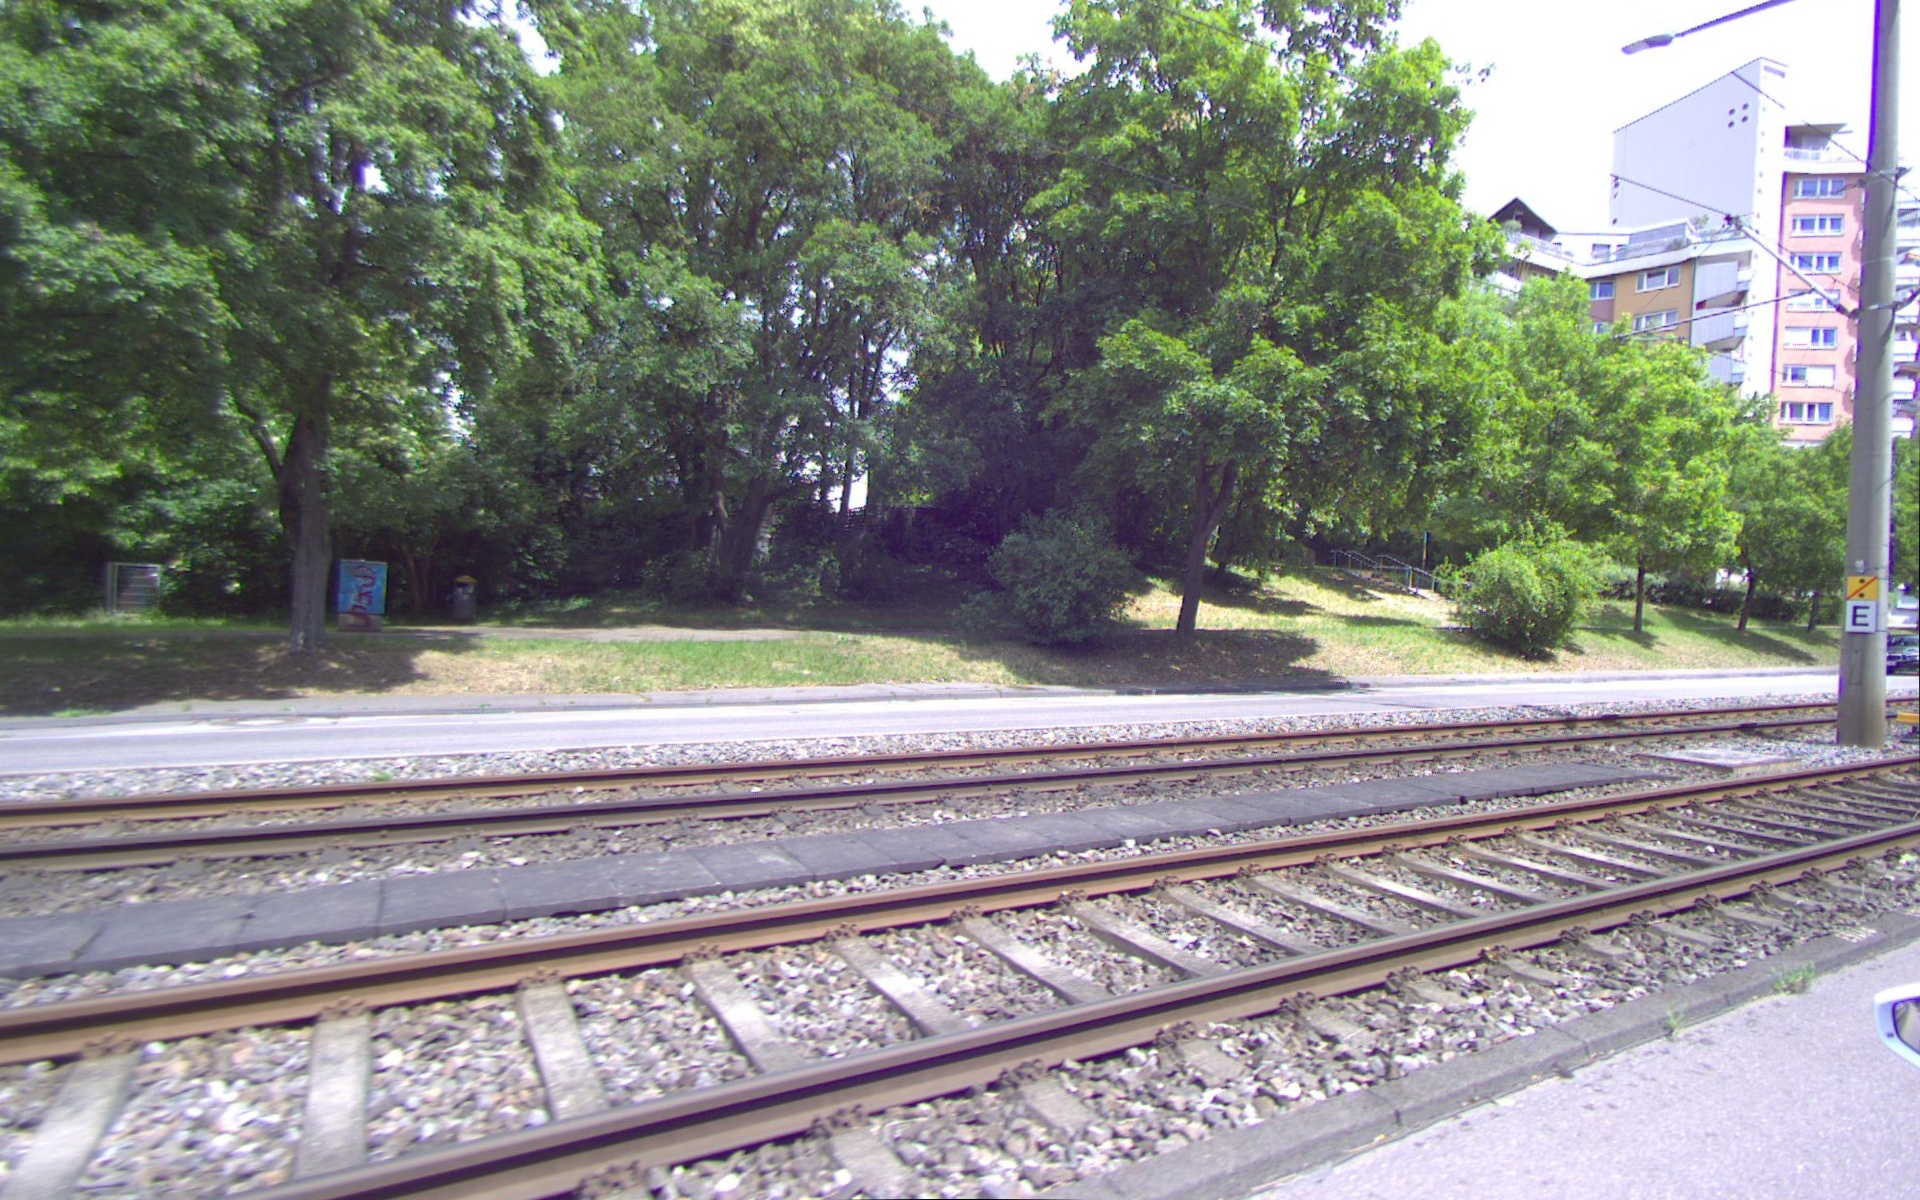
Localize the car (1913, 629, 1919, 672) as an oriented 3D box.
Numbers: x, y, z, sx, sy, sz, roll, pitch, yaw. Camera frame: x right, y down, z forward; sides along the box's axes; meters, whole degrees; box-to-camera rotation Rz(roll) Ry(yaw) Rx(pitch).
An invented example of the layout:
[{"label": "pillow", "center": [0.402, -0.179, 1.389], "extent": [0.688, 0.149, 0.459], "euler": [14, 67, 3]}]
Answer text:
[{"label": "car", "center": [39.271, 2.034, 39.436], "extent": [4.335, 1.651, 1.764], "euler": [3, -2, -33]}]

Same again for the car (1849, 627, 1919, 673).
[{"label": "car", "center": [33.729, 1.781, 36.006], "extent": [3.954, 1.518, 1.764], "euler": [2, 0, -33]}]
